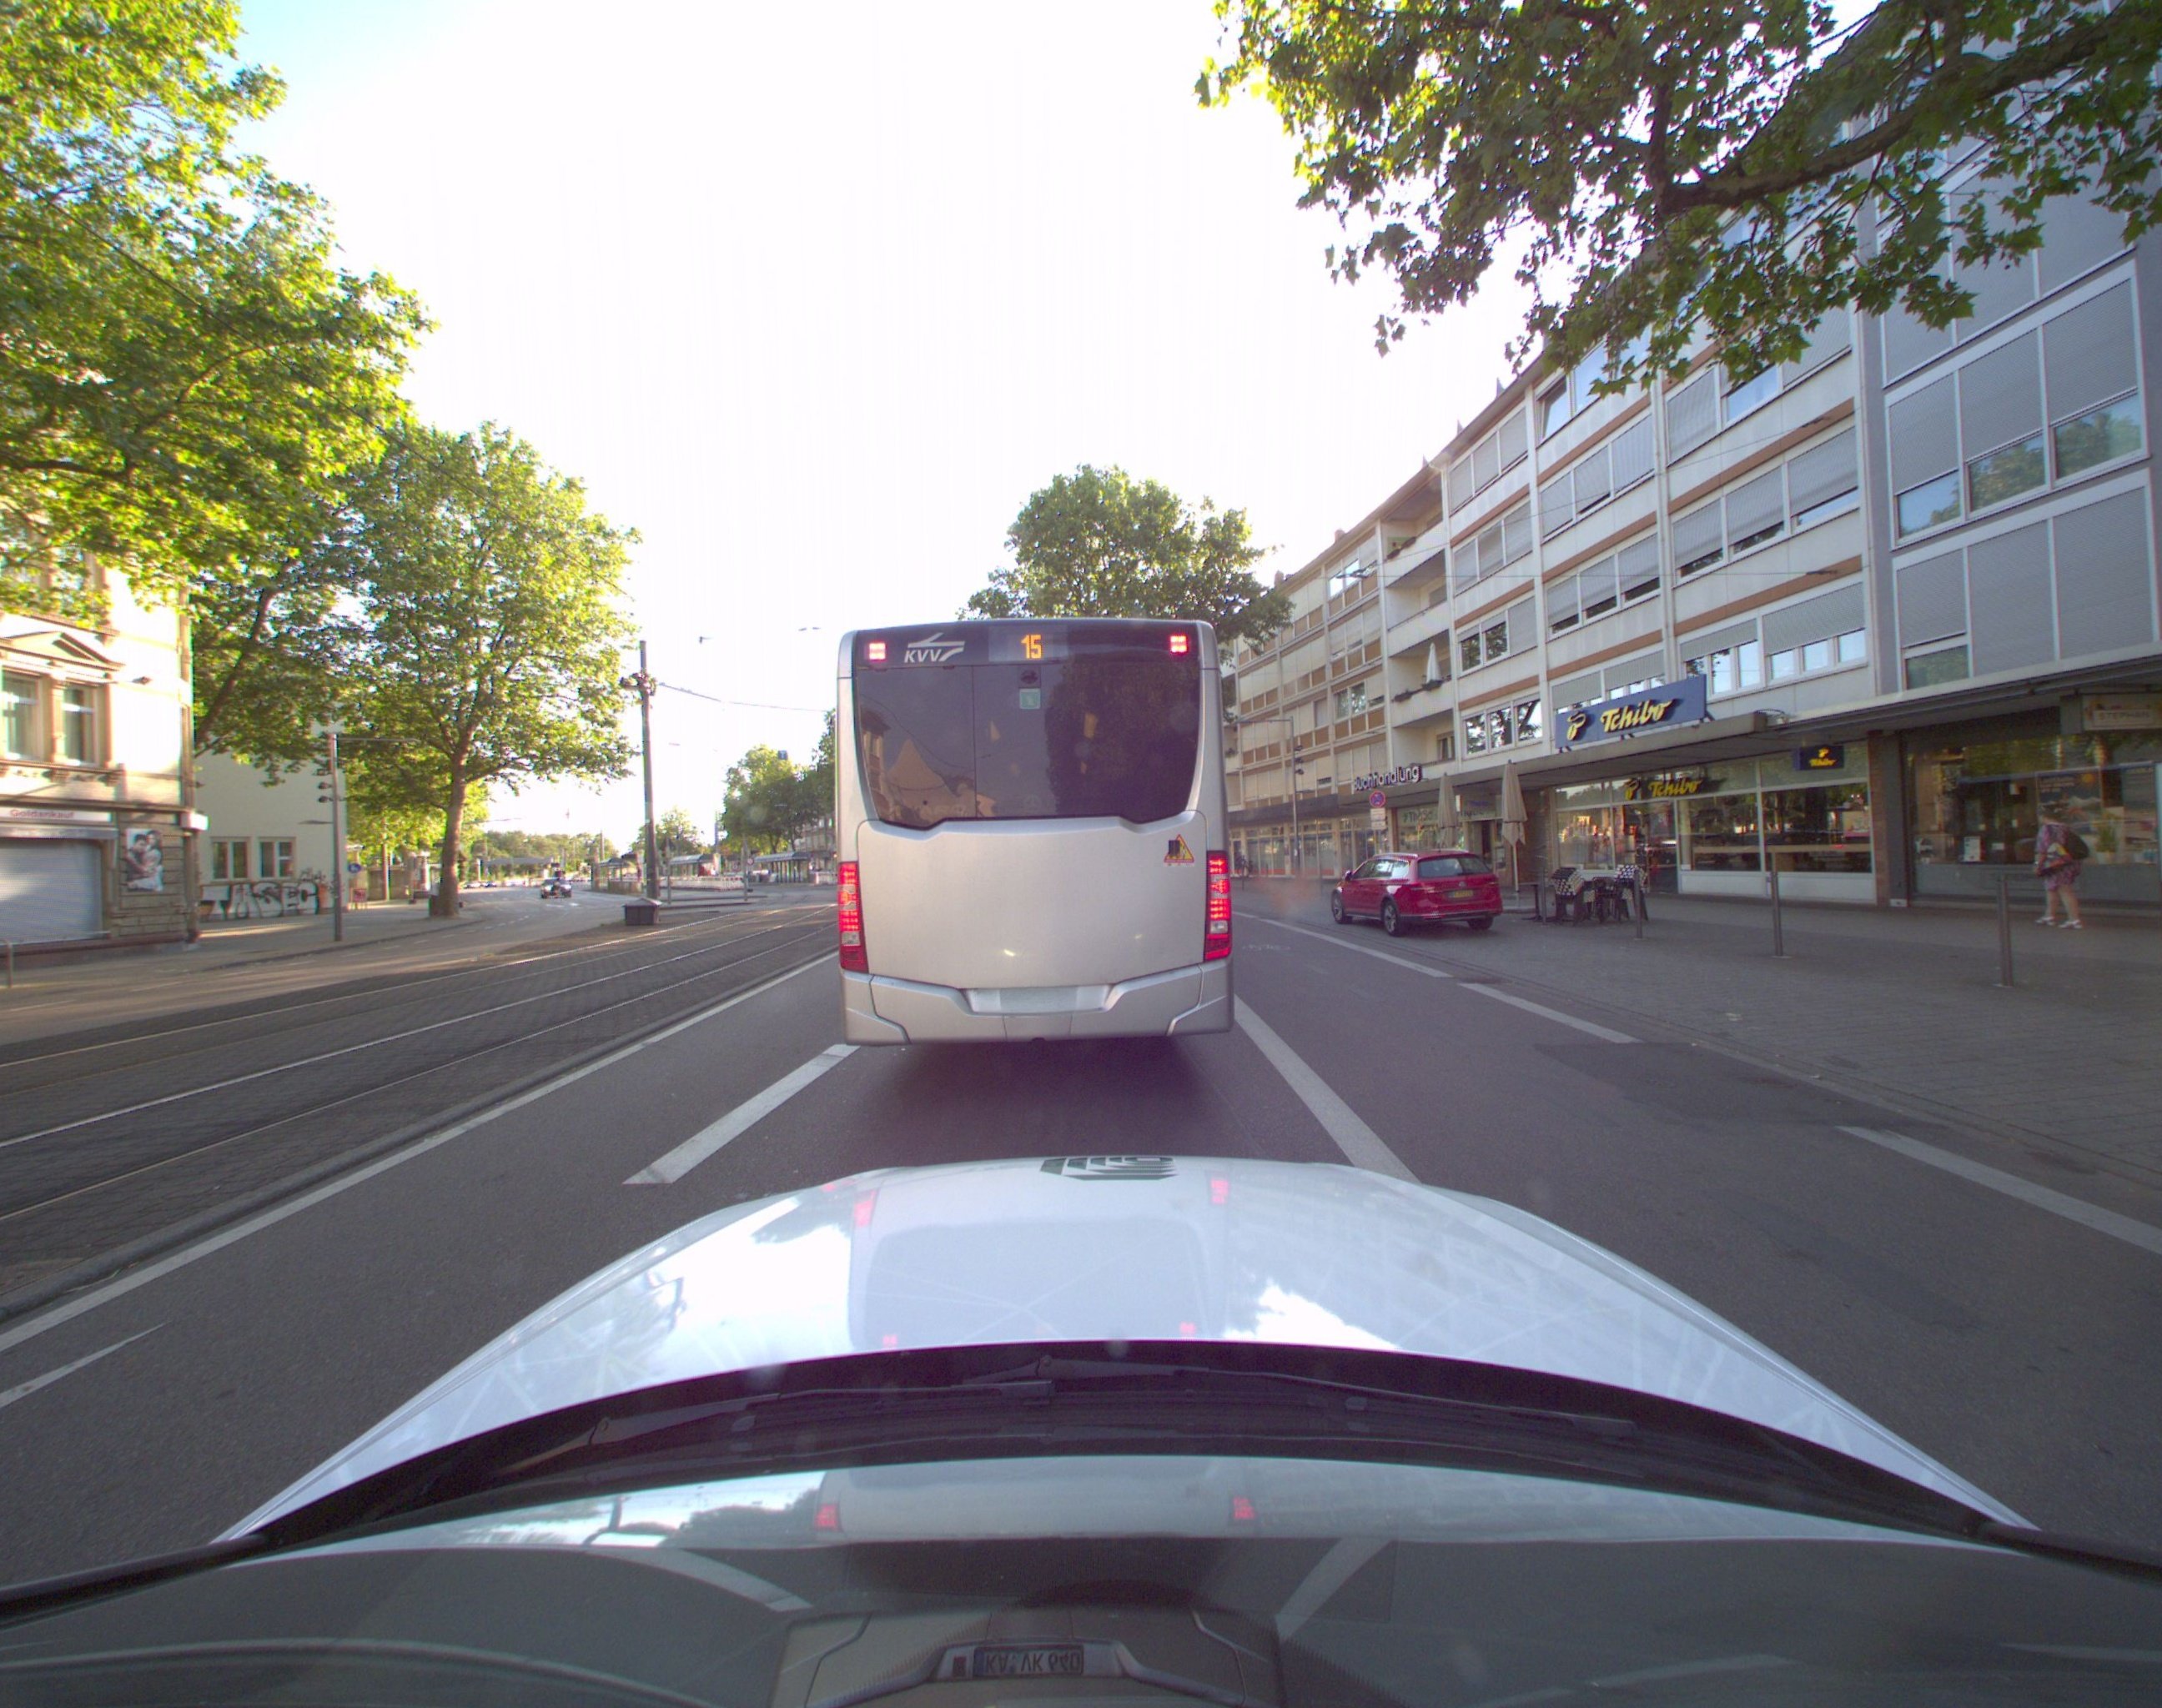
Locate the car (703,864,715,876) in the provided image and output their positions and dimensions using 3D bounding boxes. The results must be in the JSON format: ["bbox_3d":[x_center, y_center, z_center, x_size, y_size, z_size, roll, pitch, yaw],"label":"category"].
[{"bbox_3d":[-65.806,2.816,144.066,1.629,2.014,3.080,-2,-1,-32],"label":"car"}]

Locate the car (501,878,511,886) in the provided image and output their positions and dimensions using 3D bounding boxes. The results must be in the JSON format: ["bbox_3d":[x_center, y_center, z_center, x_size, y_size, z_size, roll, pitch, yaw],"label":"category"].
[{"bbox_3d":[-130.065,6.419,184.230,1.858,1.684,3.676,-2,-1,-35],"label":"car"}]

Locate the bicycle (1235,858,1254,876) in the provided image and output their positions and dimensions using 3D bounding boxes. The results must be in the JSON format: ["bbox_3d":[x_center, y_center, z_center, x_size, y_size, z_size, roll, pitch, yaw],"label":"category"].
[{"bbox_3d":[9.204,0.728,45.882,0.413,0.945,1.431,-2,-1,-18],"label":"bicycle"}]

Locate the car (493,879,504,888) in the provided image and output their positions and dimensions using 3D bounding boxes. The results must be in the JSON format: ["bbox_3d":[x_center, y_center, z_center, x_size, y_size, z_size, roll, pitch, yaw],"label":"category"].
[{"bbox_3d":[-117.805,6.037,164.709,1.858,1.684,3.676,-2,-1,-35],"label":"car"}]

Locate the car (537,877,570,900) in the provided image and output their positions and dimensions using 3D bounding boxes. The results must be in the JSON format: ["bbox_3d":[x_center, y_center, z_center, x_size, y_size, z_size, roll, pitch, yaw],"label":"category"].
[{"bbox_3d":[-39.991,2.588,61.796,2.008,1.640,3.958,-2,-1,-33],"label":"car"}]

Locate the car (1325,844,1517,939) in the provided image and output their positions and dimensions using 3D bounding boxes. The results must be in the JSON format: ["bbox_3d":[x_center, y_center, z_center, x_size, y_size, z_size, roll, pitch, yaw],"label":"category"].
[{"bbox_3d":[6.365,0.640,15.840,1.765,1.482,4.300,-3,0,-2],"label":"car"}]

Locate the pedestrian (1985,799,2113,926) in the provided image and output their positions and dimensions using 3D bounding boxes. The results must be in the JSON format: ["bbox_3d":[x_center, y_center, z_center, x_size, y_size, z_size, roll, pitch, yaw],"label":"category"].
[{"bbox_3d":[12.818,0.110,10.806,0.649,1.592,0.788,-4,-1,-4],"label":"pedestrian"}]

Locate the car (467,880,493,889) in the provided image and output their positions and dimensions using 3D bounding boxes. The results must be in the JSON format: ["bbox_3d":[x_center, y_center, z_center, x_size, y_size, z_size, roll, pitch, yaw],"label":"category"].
[{"bbox_3d":[-122.643,6.272,166.174,1.768,1.640,4.024,-3,-1,44],"label":"car"}]

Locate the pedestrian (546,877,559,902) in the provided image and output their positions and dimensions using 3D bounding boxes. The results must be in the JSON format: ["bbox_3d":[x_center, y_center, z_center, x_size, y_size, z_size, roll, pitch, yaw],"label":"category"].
[{"bbox_3d":[-35.074,2.356,54.038,0.661,1.656,0.438,-2,-1,-41],"label":"pedestrian"}]

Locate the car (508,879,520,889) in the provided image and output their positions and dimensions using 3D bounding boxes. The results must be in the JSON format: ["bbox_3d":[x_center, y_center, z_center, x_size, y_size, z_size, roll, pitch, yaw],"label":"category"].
[{"bbox_3d":[-111.424,5.852,160.048,1.858,1.684,3.677,-4,1,-35],"label":"car"}]

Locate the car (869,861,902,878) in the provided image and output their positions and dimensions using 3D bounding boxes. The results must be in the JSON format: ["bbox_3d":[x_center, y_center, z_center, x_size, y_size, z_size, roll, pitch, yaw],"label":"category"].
[{"bbox_3d":[-21.334,1.732,88.877,2.010,1.792,3.954,0,-1,-39],"label":"car"}]

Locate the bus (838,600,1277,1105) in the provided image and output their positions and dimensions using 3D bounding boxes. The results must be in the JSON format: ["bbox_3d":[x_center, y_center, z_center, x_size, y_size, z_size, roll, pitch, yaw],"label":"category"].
[{"bbox_3d":[-0.126,0.013,9.954,2.622,3.028,9.995,-1,0,0],"label":"bus"}]
